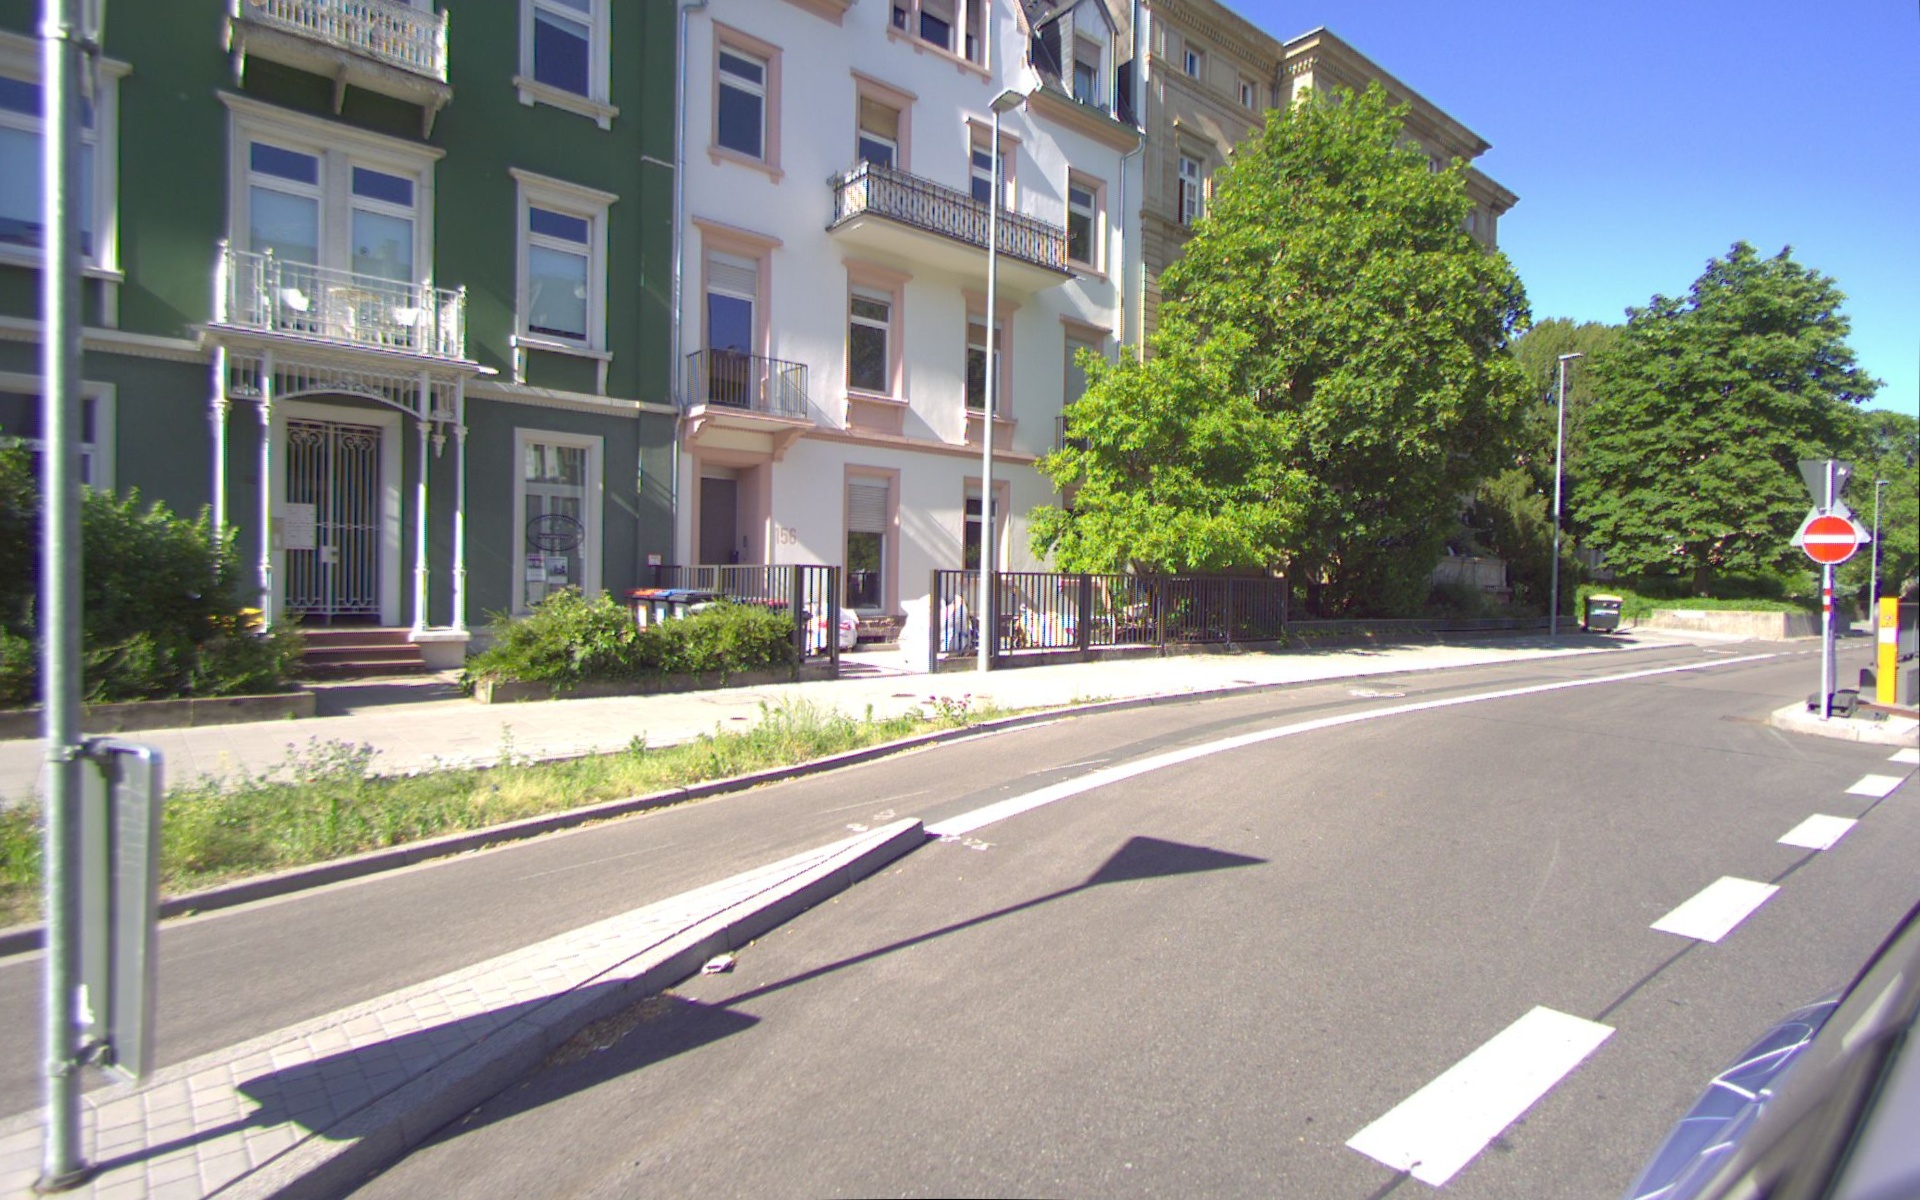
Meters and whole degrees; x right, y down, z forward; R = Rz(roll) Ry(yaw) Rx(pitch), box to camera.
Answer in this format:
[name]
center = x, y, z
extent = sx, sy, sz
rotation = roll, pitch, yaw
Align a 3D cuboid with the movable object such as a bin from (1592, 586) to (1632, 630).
[movable object such as a bin]
center = 22.508, 0.264, 34.949
extent = 0.964, 1.415, 1.275
rotation = 3, 1, 27
